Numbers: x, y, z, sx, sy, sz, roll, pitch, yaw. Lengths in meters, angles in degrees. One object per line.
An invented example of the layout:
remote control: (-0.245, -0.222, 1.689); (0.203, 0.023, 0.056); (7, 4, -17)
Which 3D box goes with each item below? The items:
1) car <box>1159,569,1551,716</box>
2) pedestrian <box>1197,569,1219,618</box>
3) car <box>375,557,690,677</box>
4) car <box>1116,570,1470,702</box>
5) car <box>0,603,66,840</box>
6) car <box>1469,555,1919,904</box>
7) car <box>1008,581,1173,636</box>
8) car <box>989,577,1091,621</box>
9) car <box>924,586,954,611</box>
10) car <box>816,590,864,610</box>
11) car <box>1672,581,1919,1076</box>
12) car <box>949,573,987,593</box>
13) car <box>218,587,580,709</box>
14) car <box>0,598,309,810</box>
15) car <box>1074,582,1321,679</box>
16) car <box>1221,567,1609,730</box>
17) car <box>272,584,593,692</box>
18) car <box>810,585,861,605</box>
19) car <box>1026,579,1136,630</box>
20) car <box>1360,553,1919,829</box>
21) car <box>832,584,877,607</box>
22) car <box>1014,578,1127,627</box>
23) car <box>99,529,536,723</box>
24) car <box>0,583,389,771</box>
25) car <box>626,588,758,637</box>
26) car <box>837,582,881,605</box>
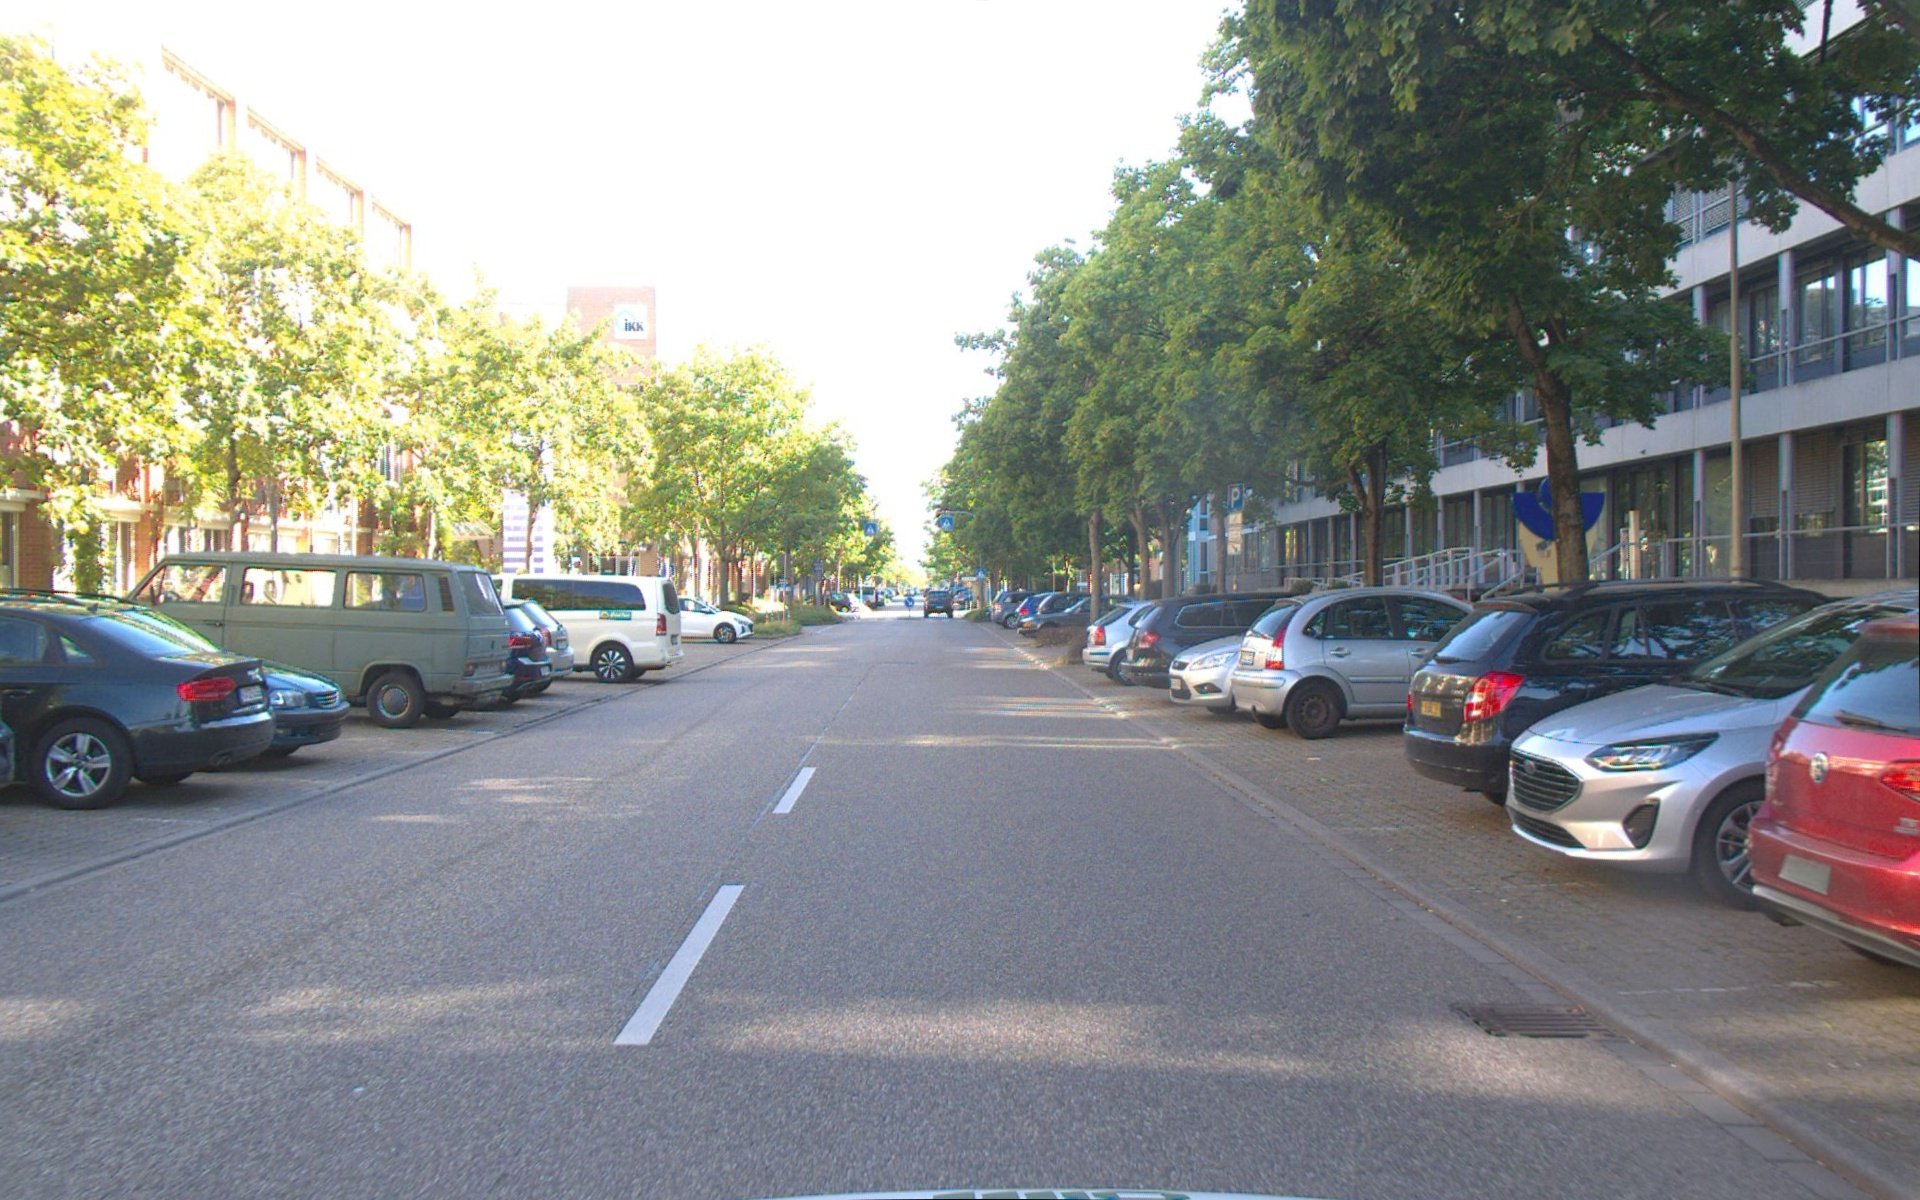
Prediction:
car: (4.687, 0.476, 20.052); (4.201, 1.519, 2.002); (-2, 0, -4)
pedestrian: (9.075, -0.229, 60.517); (0.595, 1.776, 1.191); (-1, 0, -1)
car: (-7.614, 0.287, 29.861); (5.151, 2.001, 1.942); (1, 0, -1)
car: (4.546, 0.468, 23.023); (4.498, 1.519, 1.762); (-3, 0, -1)
car: (-7.751, 0.723, 10.059); (3.651, 1.452, 1.724); (1, 0, -2)
car: (5.163, 0.545, 8.607); (4.421, 1.569, 1.923); (-2, 0, 3)
car: (3.922, 0.245, 50.182); (4.729, 1.444, 2.031); (-2, 0, -3)
car: (3.486, -0.049, 72.822); (4.265, 1.733, 1.811); (-2, 0, -4)
car: (-1.448, -0.091, 113.020); (1.953, 1.668, 3.999); (1, 0, -1)
car: (-9.603, -0.016, 132.428); (3.775, 1.499, 1.810); (1, 0, -7)
car: (4.818, 0.631, 5.848); (3.758, 1.472, 1.923); (-2, 0, 3)
car: (0.878, -1.814, 176.185); (3.907, 2.049, 1.999); (-1, 0, -3)
car: (-7.555, 0.617, 22.584); (4.231, 1.503, 1.943); (1, 0, 1)
car: (-7.042, 0.725, 12.406); (3.655, 1.452, 1.722); (1, 0, -7)
car: (4.001, 0.505, 28.229); (3.891, 1.444, 1.709); (-2, 0, -3)
car: (4.827, 0.491, 17.829); (3.670, 1.519, 1.615); (-2, 0, -5)
car: (-7.979, 0.554, 25.300); (4.231, 1.503, 1.943); (1, 0, 1)
car: (-9.576, -0.375, 127.133); (3.775, 1.499, 1.810); (1, 0, -7)
car: (4.078, 0.138, 56.088); (3.567, 1.541, 1.813); (-2, 0, 0)
car: (5.101, 0.526, 11.017); (4.421, 1.569, 1.923); (-2, 0, 3)
car: (-9.820, -0.419, 154.349); (3.903, 2.049, 2.001); (-1, 0, 3)
car: (3.890, 0.084, 58.655); (3.868, 1.541, 1.813); (-2, 0, 0)
car: (-7.594, 0.287, 19.899); (4.395, 2.126, 2.083); (1, 0, 1)
car: (-7.565, 0.658, 15.148); (4.048, 1.554, 1.725); (1, 0, -1)
car: (-8.431, 0.393, 52.333); (3.907, 1.512, 1.806); (0, 0, -2)
car: (-9.607, -0.610, 157.554); (3.903, 2.049, 2.001); (-1, 0, 3)
